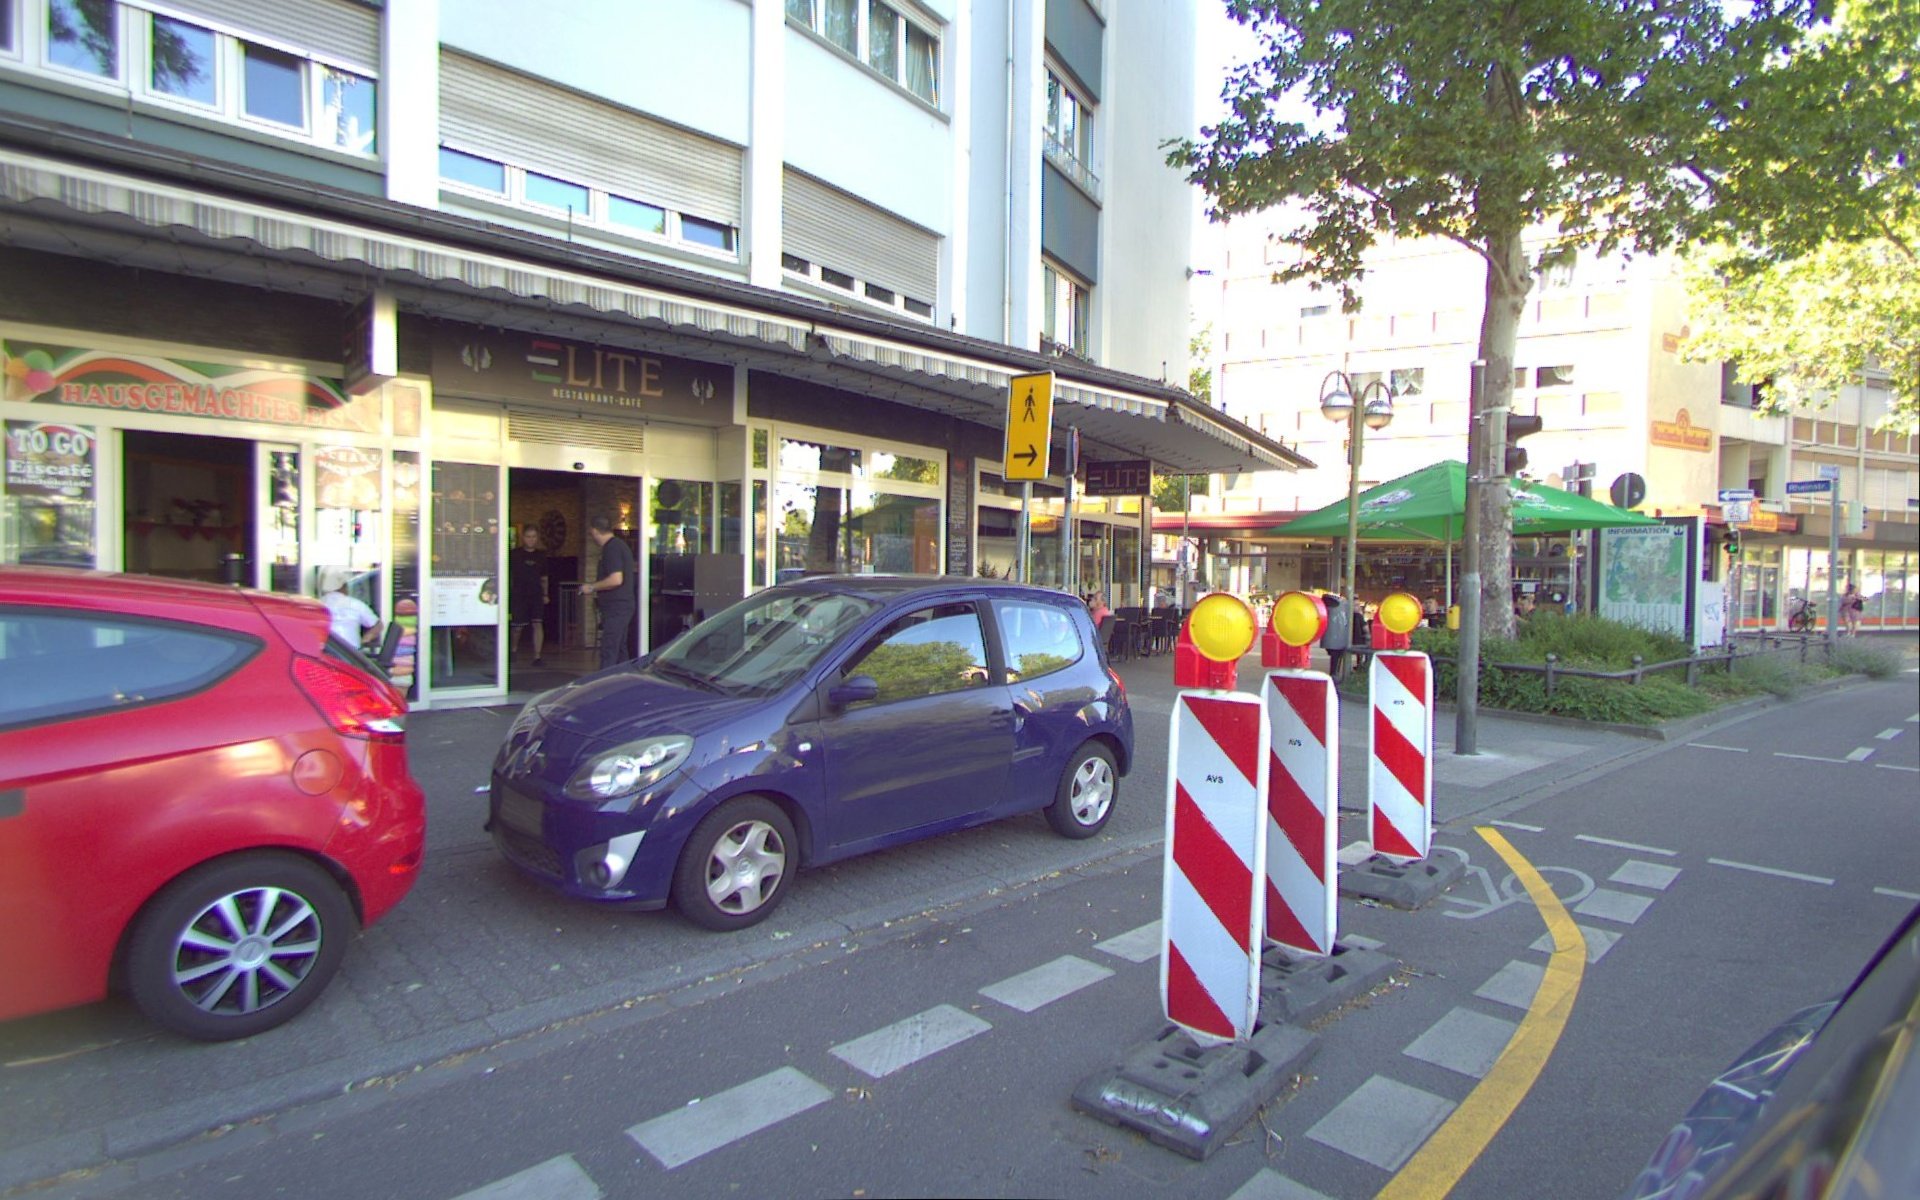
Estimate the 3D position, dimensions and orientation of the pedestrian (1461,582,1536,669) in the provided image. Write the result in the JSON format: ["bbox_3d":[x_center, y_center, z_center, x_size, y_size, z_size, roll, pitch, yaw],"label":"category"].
[{"bbox_3d":[8.415,0.384,15.821,0.752,1.301,0.721,0,1,-27],"label":"pedestrian"}]

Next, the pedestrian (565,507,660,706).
[{"bbox_3d":[-3.206,0.040,9.338,0.579,1.756,0.596,1,3,-43],"label":"pedestrian"}]

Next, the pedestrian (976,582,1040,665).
[{"bbox_3d":[0.700,0.325,14.657,0.710,1.144,0.645,3,1,25],"label":"pedestrian"}]

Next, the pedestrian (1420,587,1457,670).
[{"bbox_3d":[7.453,0.430,15.771,0.427,1.234,0.465,3,2,20],"label":"pedestrian"}]

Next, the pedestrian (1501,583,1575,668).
[{"bbox_3d":[9.266,0.394,16.224,0.753,1.301,0.721,0,1,-28],"label":"pedestrian"}]

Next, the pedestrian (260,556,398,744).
[{"bbox_3d":[-4.826,0.324,7.712,0.765,1.247,1.207,-1,5,-38],"label":"pedestrian"}]

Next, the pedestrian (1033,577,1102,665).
[{"bbox_3d":[1.584,0.303,14.918,0.664,1.233,0.706,3,1,43],"label":"pedestrian"}]

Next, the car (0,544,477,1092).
[{"bbox_3d":[-3.647,0.571,2.853,1.668,1.446,3.786,5,4,44],"label":"car"}]

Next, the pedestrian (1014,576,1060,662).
[{"bbox_3d":[1.163,0.279,15.278,0.541,1.259,0.521,2,1,-7],"label":"pedestrian"}]

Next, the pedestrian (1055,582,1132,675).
[{"bbox_3d":[1.853,0.373,14.027,0.838,1.213,0.644,3,1,27],"label":"pedestrian"}]

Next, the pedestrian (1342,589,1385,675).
[{"bbox_3d":[5.940,0.462,14.915,0.460,1.235,0.432,1,0,5],"label":"pedestrian"}]

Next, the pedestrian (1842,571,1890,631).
[{"bbox_3d":[27.586,0.028,30.810,0.883,1.779,0.751,0,1,-24],"label":"pedestrian"}]

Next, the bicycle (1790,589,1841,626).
[{"bbox_3d":[28.123,0.239,33.253,1.933,1.157,0.530,0,1,-26],"label":"bicycle"}]

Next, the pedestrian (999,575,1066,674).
[{"bbox_3d":[0.990,0.320,13.753,0.644,1.267,0.711,3,1,25],"label":"pedestrian"}]

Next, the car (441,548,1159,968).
[{"bbox_3d":[-0.652,0.540,5.505,3.545,1.484,1.621,0,4,-44],"label":"car"}]
